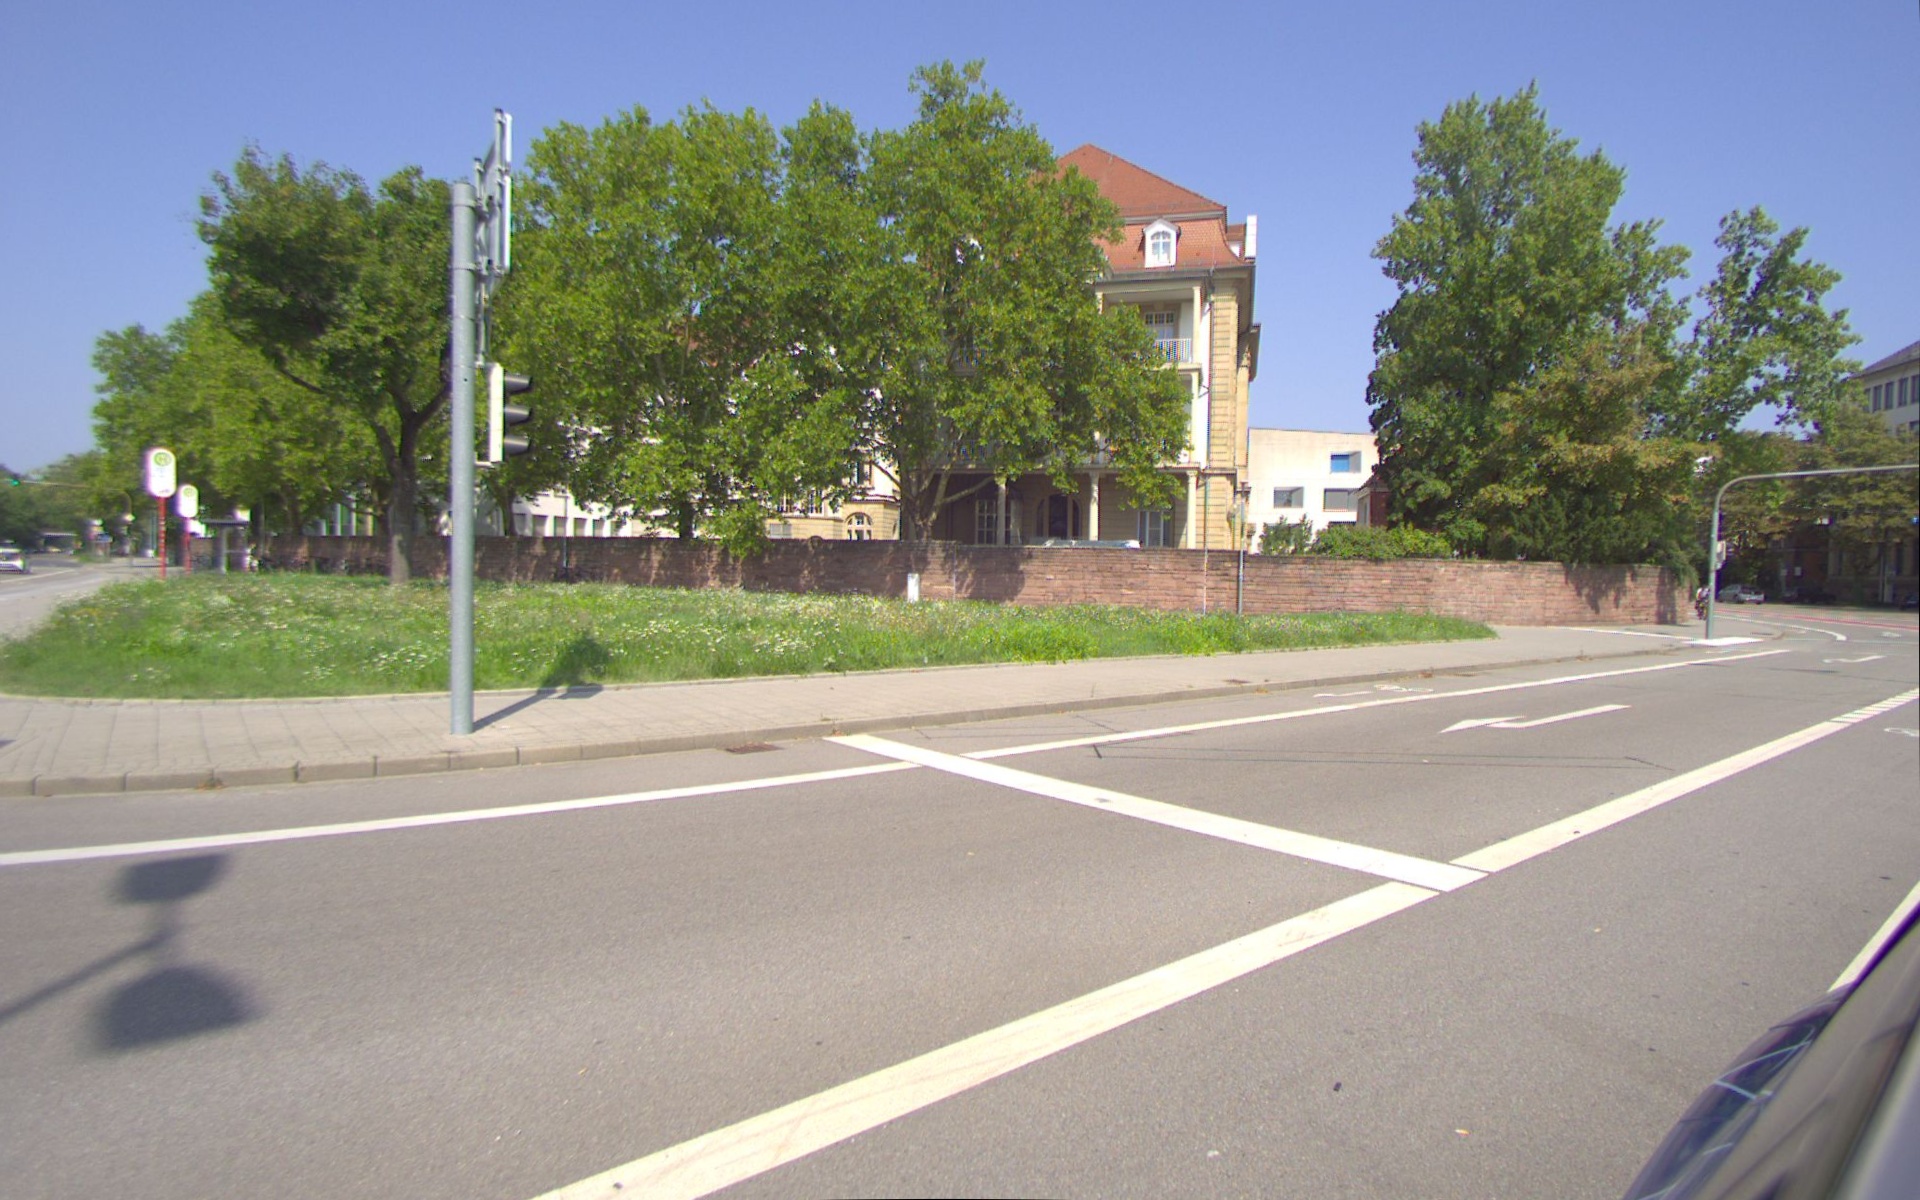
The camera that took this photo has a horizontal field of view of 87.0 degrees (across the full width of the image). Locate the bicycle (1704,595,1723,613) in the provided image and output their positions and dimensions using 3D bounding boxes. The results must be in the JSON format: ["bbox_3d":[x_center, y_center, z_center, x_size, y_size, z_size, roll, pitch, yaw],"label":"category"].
[{"bbox_3d":[35.976,0.171,48.324,1.460,0.822,0.437,-1,3,-42],"label":"bicycle"}]

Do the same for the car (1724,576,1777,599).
[{"bbox_3d":[62.723,-1.021,80.375,1.861,1.615,3.982,2,2,15],"label":"car"}]

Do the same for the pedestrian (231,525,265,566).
[{"bbox_3d":[-36.785,-2.810,52.292,1.225,2.038,1.060,3,2,32],"label":"pedestrian"}]

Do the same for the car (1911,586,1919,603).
[{"bbox_3d":[68.742,-0.345,70.719,3.011,1.190,1.248,2,2,12],"label":"car"}]

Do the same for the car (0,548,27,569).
[{"bbox_3d":[-55.914,-2.438,59.165,1.560,1.150,3.264,0,3,-35],"label":"car"}]

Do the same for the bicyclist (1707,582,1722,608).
[{"bbox_3d":[36.027,-0.250,48.344,0.531,1.248,0.432,-1,2,-42],"label":"bicyclist"}]
